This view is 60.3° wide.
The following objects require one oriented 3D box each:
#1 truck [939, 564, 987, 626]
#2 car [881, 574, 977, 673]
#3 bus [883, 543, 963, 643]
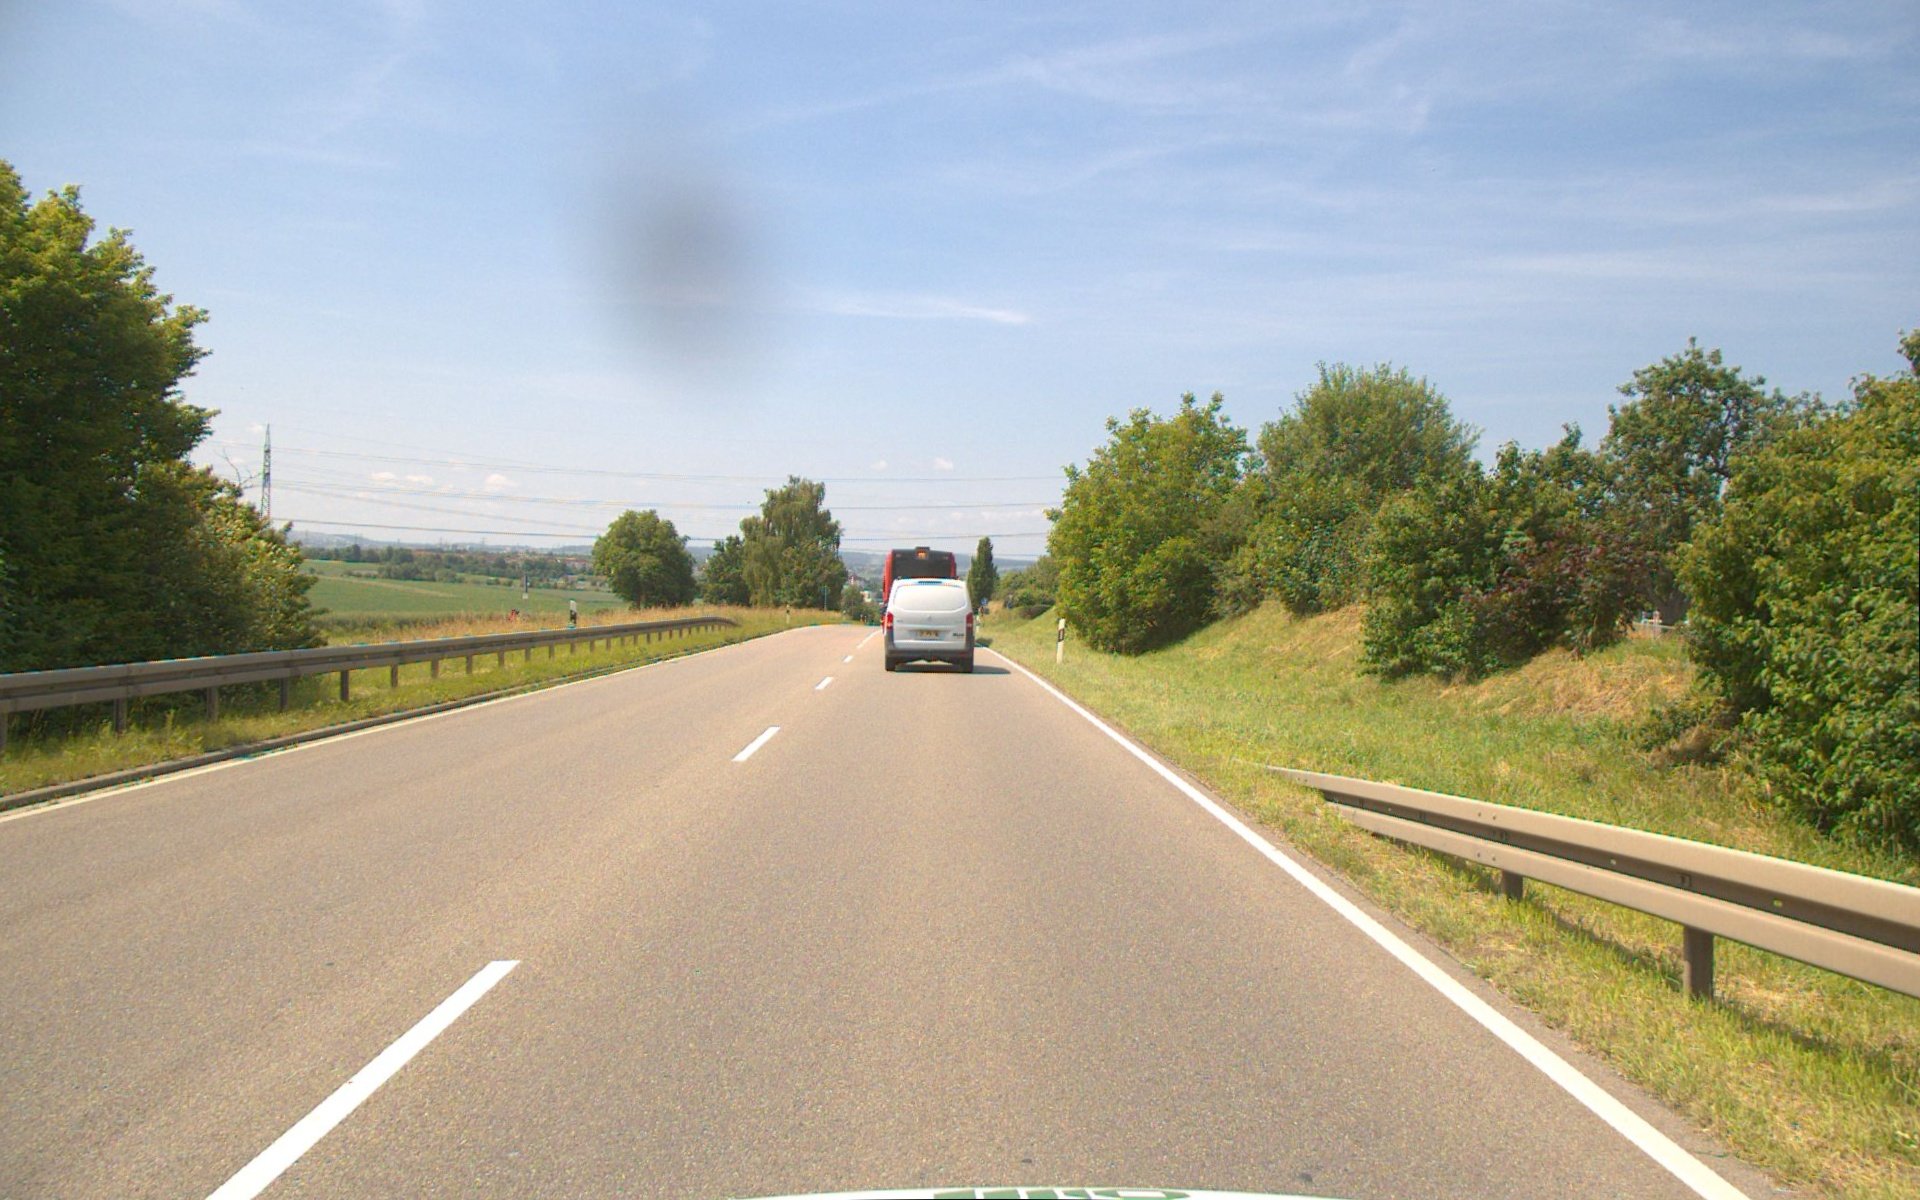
[{"bbox_3d":[0.142,-0.271,129.324,3.417,4.501,14.898,1,-1,-1],"label":"truck"},{"bbox_3d":[-0.624,0.442,35.282,1.884,1.922,4.000,1,1,0],"label":"car"},{"bbox_3d":[-1.531,-0.335,63.058,2.692,3.412,13.216,0,1,-2],"label":"bus"}]
